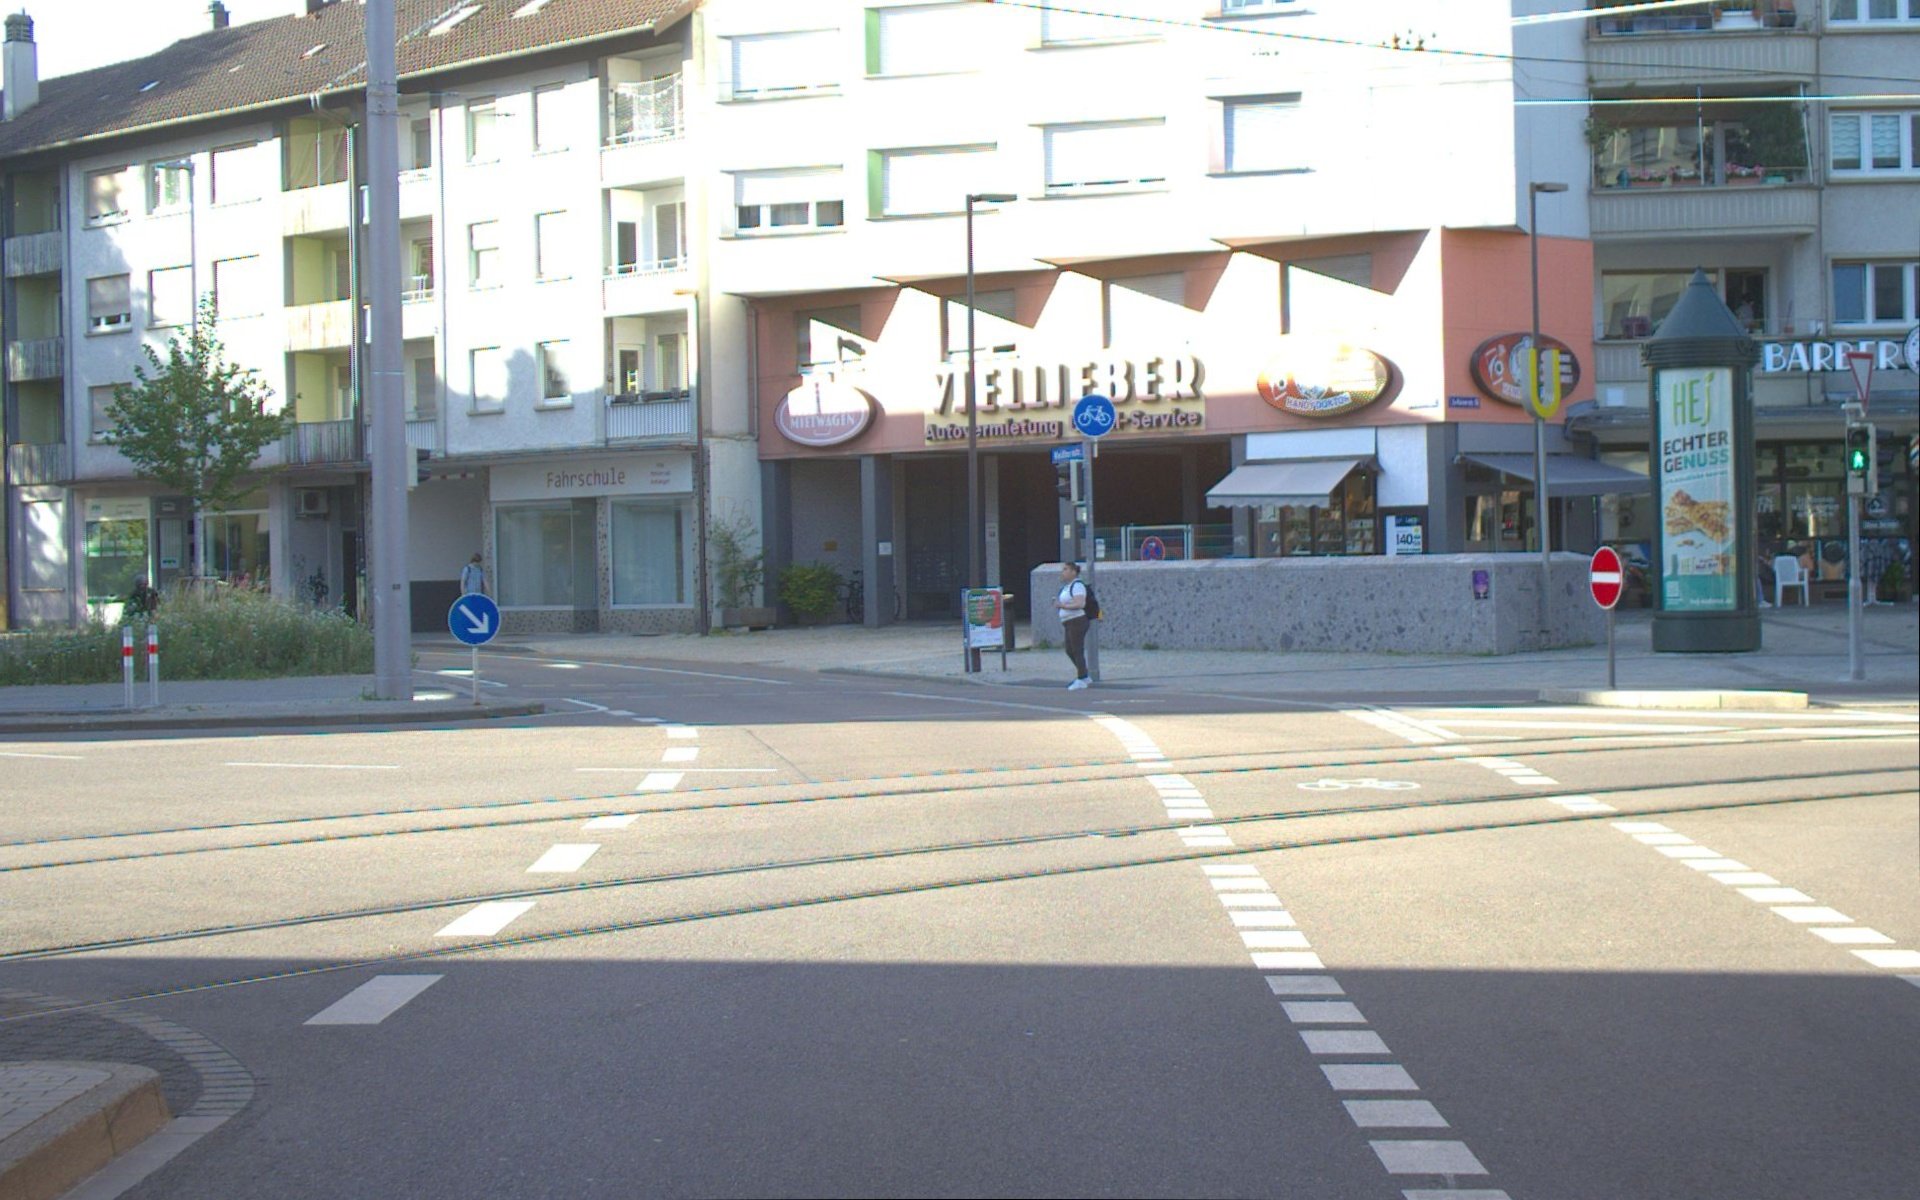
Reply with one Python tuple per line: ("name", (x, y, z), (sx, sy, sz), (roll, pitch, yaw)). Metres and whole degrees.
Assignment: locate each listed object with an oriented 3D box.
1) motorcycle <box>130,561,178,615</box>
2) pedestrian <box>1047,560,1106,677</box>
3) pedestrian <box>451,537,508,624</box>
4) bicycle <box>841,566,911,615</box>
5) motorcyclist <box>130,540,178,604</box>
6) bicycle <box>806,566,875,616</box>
("motorcycle", (-17.338, -0.275, 73.966), (0.973, 1.128, 2.806), (0, 1, -13))
("pedestrian", (1.577, 0.246, 46.607), (0.539, 1.578, 0.557), (-1, 1, -42))
("pedestrian", (-10.554, -0.424, 75.487), (0.732, 1.848, 0.947), (-5, 2, -44))
("bicycle", (-1.786, -0.198, 73.056), (0.495, 1.035, 1.637), (-2, 1, -44))
("motorcyclist", (-17.314, -0.601, 73.858), (0.970, 1.342, 1.138), (0, 0, -13))
("bicycle", (-2.533, -0.183, 72.758), (0.495, 1.035, 1.637), (-2, 1, -44))
